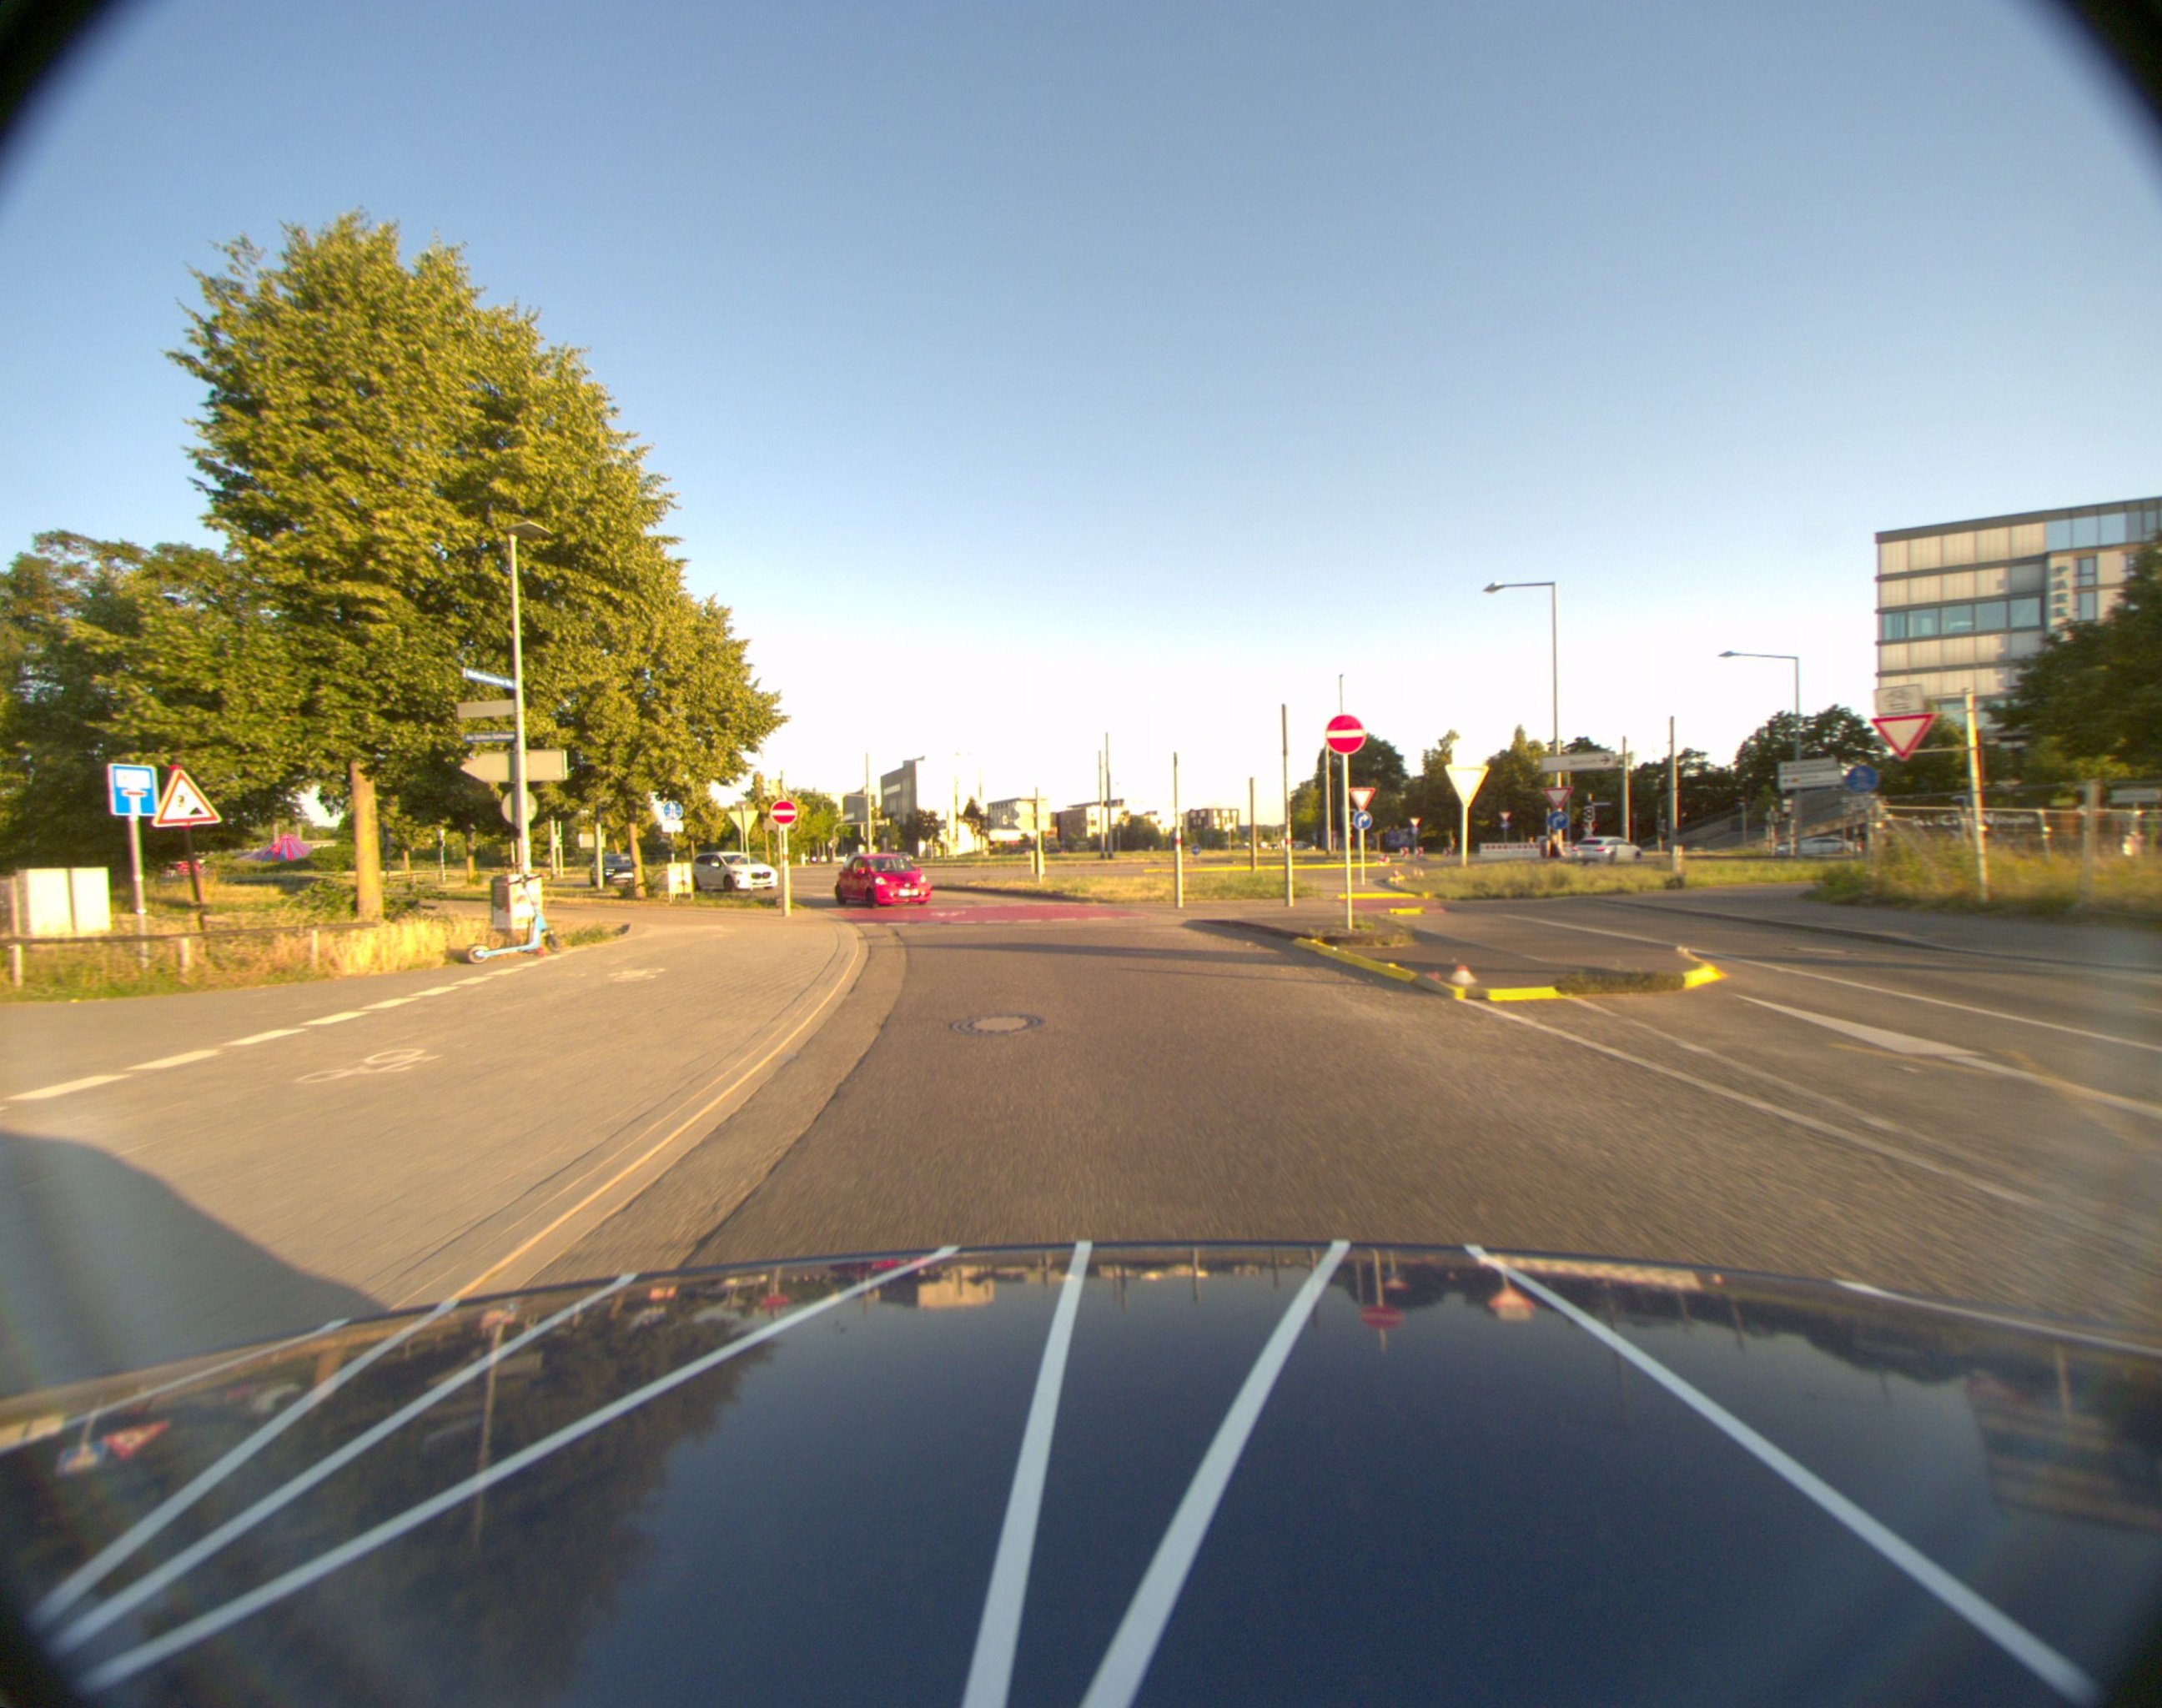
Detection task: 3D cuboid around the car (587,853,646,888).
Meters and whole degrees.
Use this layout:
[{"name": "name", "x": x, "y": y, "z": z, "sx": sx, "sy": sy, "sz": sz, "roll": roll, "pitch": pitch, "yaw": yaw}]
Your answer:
[{"name": "car", "x": -23.336, "y": 0.781, "z": 38.112, "sx": 1.794, "sy": 1.548, "sz": 4.397, "roll": -4, "pitch": 2, "yaw": -40}]

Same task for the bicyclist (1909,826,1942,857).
[{"name": "bicyclist", "x": 41.099, "y": -0.626, "z": 36.988, "sx": 0.699, "sy": 1.483, "sz": 0.975, "roll": 0, "pitch": 2, "yaw": 24}]

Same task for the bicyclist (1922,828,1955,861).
[{"name": "bicyclist", "x": 39.159, "y": -0.459, "z": 34.704, "sx": 0.699, "sy": 1.483, "sz": 0.975, "roll": 0, "pitch": 2, "yaw": 28}]

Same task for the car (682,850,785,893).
[{"name": "car", "x": -14.029, "y": 0.670, "z": 30.601, "sx": 4.397, "sy": 1.548, "sz": 1.794, "roll": -1, "pitch": 2, "yaw": 37}]

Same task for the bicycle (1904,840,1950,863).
[{"name": "bicycle", "x": 41.058, "y": -0.132, "z": 36.887, "sx": 0.699, "sy": 1.038, "sz": 2.082, "roll": 0, "pitch": 2, "yaw": 24}]

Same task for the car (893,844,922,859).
[{"name": "car", "x": -15.385, "y": -0.195, "z": 67.365, "sx": 1.622, "sy": 1.262, "sz": 3.804, "roll": -2, "pitch": 1, "yaw": -27}]

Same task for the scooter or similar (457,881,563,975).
[{"name": "scooter or similar", "x": -8.283, "y": 1.048, "z": 11.067, "sx": 0.196, "sy": 1.229, "sz": 1.166, "roll": 0, "pitch": 3, "yaw": 37}]

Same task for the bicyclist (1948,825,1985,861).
[{"name": "bicyclist", "x": 37.663, "y": -0.470, "z": 32.337, "sx": 0.699, "sy": 1.483, "sz": 0.975, "roll": 0, "pitch": 2, "yaw": 28}]

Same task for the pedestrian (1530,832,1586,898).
[{"name": "pedestrian", "x": 12.385, "y": 0.282, "z": 19.761, "sx": 0.927, "sy": 1.685, "sz": 0.786, "roll": 0, "pitch": 1, "yaw": -10}]

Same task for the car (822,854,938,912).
[{"name": "car", "x": -5.835, "y": 0.749, "z": 21.673, "sx": 1.622, "sy": 1.405, "sz": 4.398, "roll": -4, "pitch": 2, "yaw": -37}]

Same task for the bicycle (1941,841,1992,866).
[{"name": "bicycle", "x": 37.669, "y": -0.031, "z": 32.355, "sx": 0.699, "sy": 1.038, "sz": 2.083, "roll": 0, "pitch": 2, "yaw": 28}]

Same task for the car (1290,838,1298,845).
[{"name": "car", "x": 61.556, "y": -3.587, "z": 219.447, "sx": 1.996, "sy": 2.002, "sz": 4.004, "roll": 0, "pitch": 1, "yaw": 16}]

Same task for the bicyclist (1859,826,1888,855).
[{"name": "bicyclist", "x": 41.403, "y": -0.690, "z": 39.705, "sx": 0.699, "sy": 1.483, "sz": 0.975, "roll": 0, "pitch": 2, "yaw": 24}]

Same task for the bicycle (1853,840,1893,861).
[{"name": "bicycle", "x": 41.432, "y": -0.201, "z": 39.774, "sx": 0.699, "sy": 1.038, "sz": 2.082, "roll": 0, "pitch": 2, "yaw": 24}]

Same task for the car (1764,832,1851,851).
[{"name": "car", "x": 56.614, "y": -0.959, "z": 59.291, "sx": 4.582, "sy": 1.414, "sz": 1.824, "roll": 0, "pitch": 2, "yaw": 19}]

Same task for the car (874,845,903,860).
[{"name": "car", "x": -16.893, "y": -0.152, "z": 66.433, "sx": 1.622, "sy": 1.243, "sz": 3.804, "roll": -2, "pitch": 1, "yaw": -27}]

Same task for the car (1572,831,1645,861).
[{"name": "car", "x": 28.204, "y": -0.433, "z": 40.604, "sx": 4.006, "sy": 1.456, "sz": 1.628, "roll": -2, "pitch": 2, "yaw": -29}]

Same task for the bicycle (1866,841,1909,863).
[{"name": "bicycle", "x": 39.761, "y": -0.124, "z": 37.499, "sx": 0.699, "sy": 1.038, "sz": 2.082, "roll": 0, "pitch": 2, "yaw": 24}]
